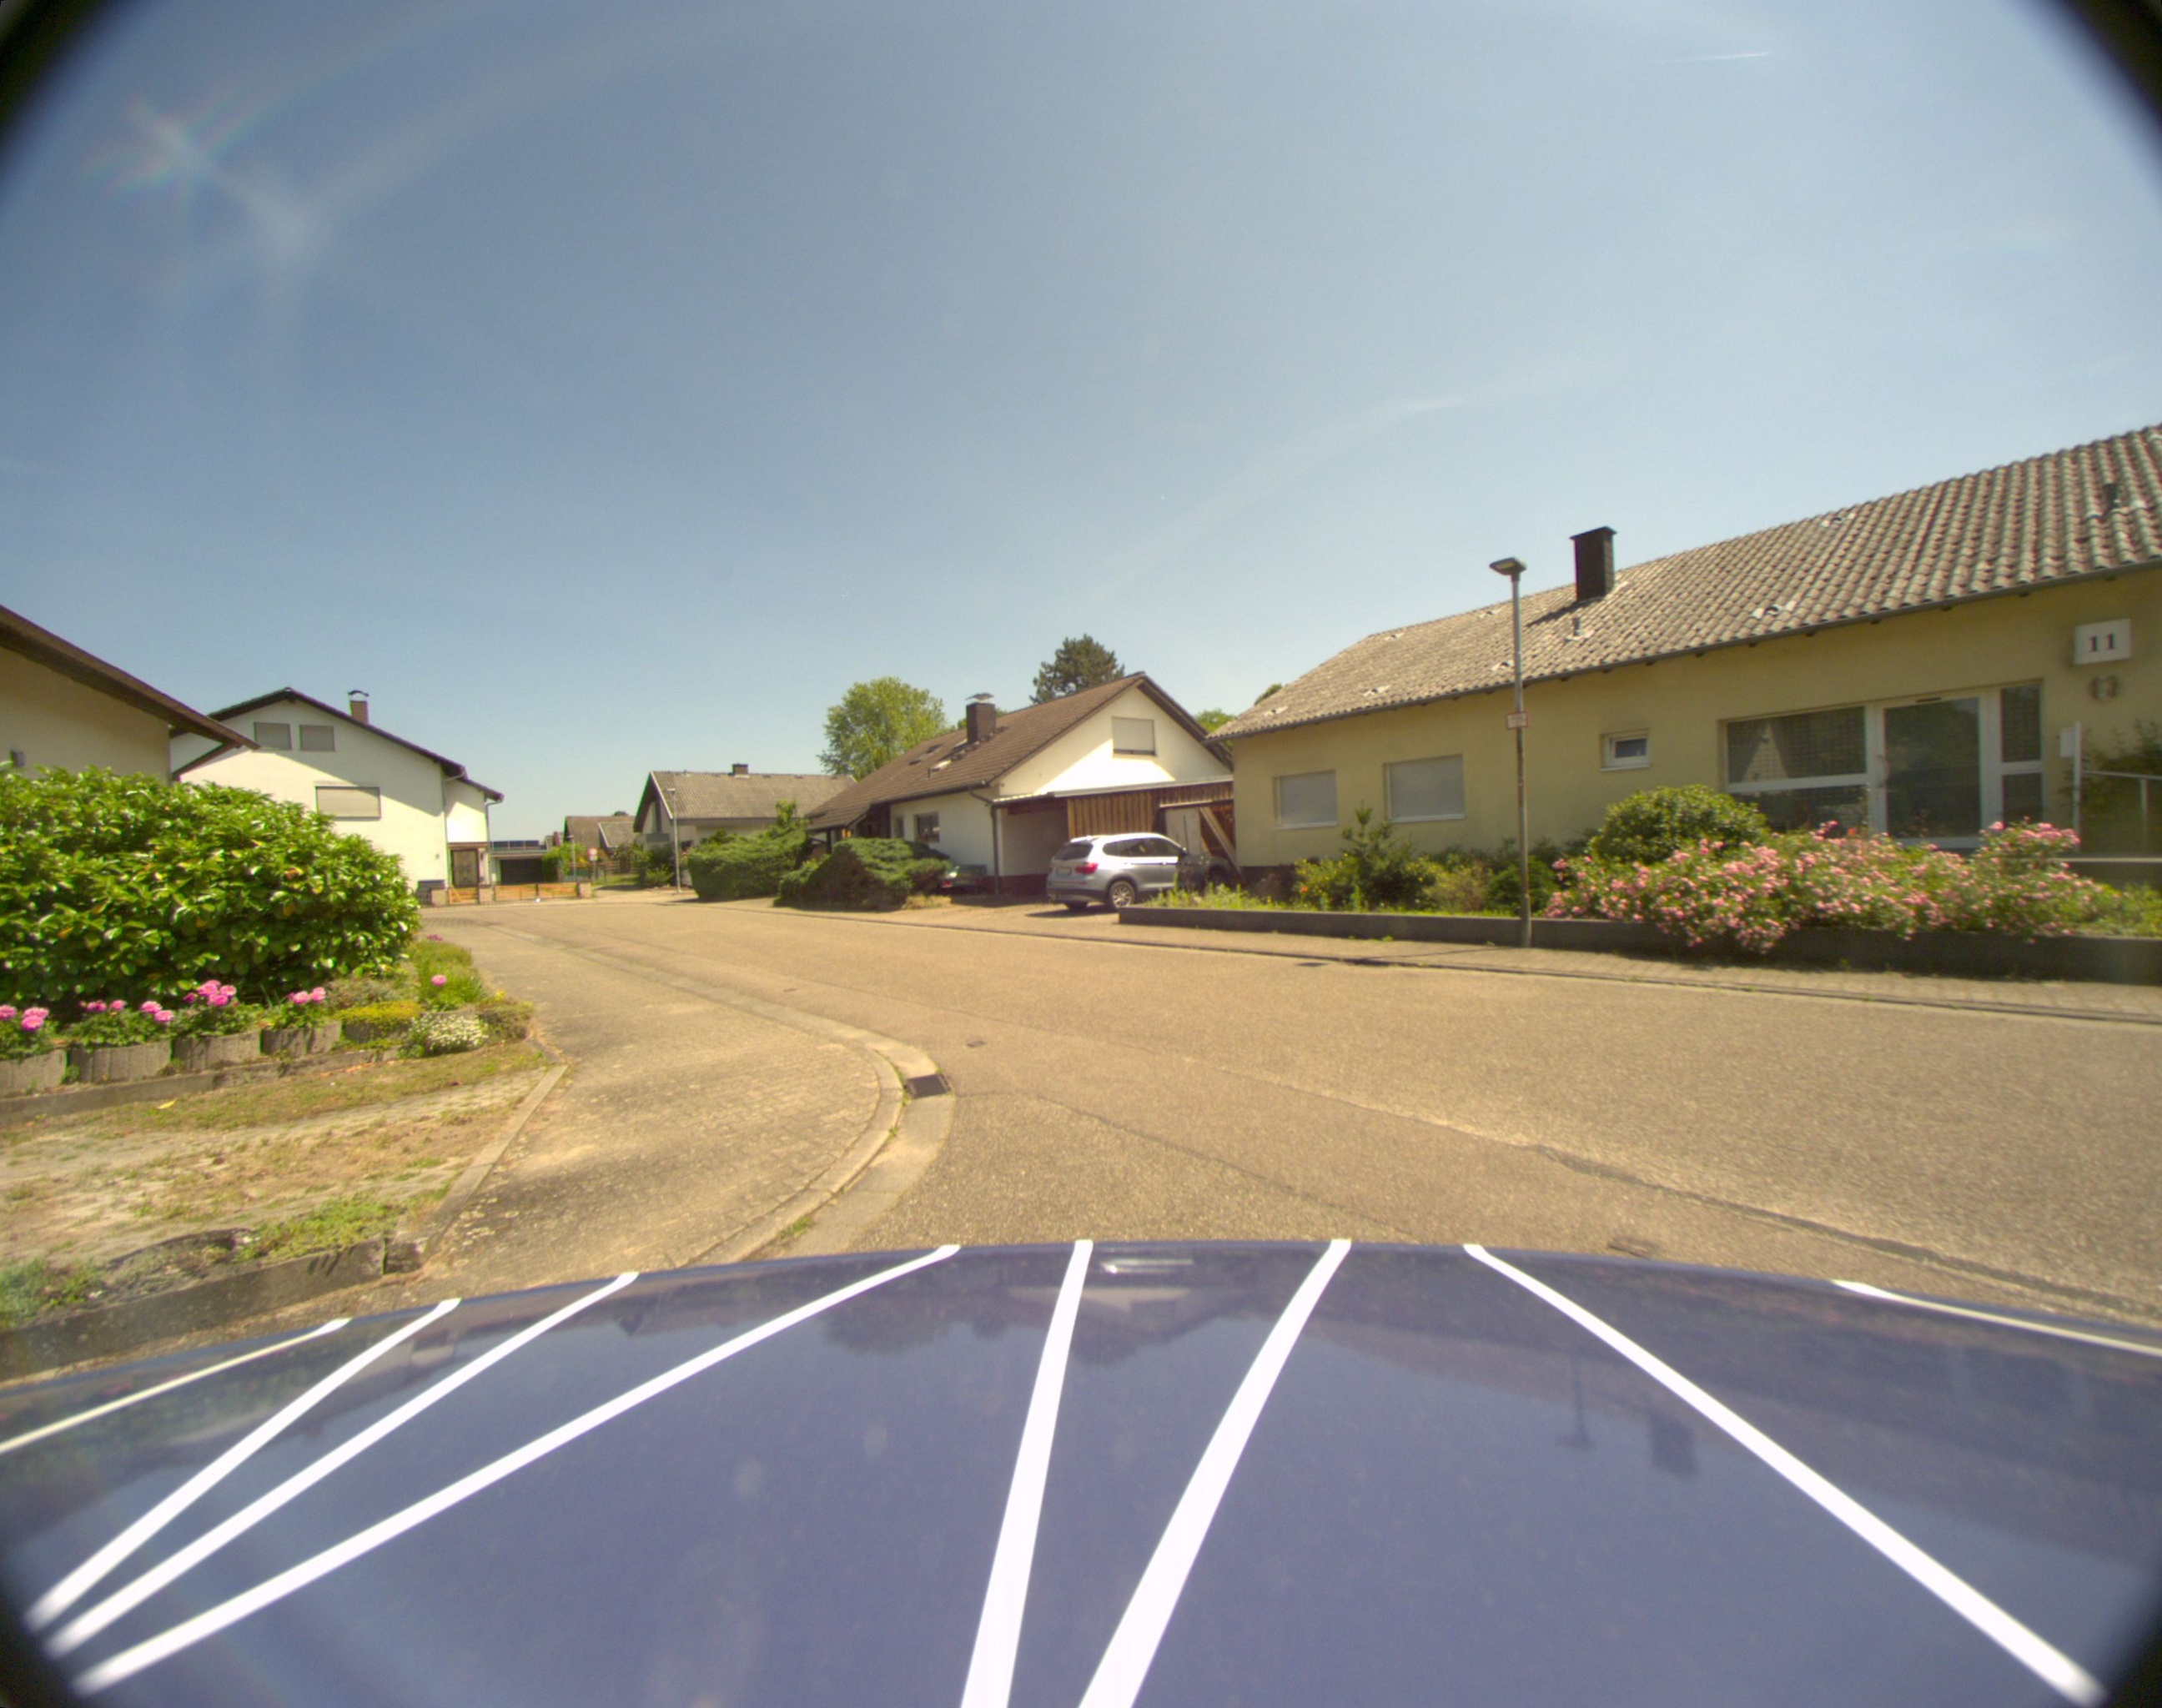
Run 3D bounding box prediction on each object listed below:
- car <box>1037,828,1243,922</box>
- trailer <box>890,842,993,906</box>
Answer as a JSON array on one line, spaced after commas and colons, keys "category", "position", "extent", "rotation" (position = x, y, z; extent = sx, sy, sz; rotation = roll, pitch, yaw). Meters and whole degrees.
[{"category": "car", "position": [1.461, 0.394, 17.629], "extent": [4.649, 1.693, 1.705], "rotation": [-5, 2, -35]}, {"category": "trailer", "position": [-4.235, 0.551, 22.804], "extent": [1.594, 1.663, 3.287], "rotation": [-5, 3, -37]}]
